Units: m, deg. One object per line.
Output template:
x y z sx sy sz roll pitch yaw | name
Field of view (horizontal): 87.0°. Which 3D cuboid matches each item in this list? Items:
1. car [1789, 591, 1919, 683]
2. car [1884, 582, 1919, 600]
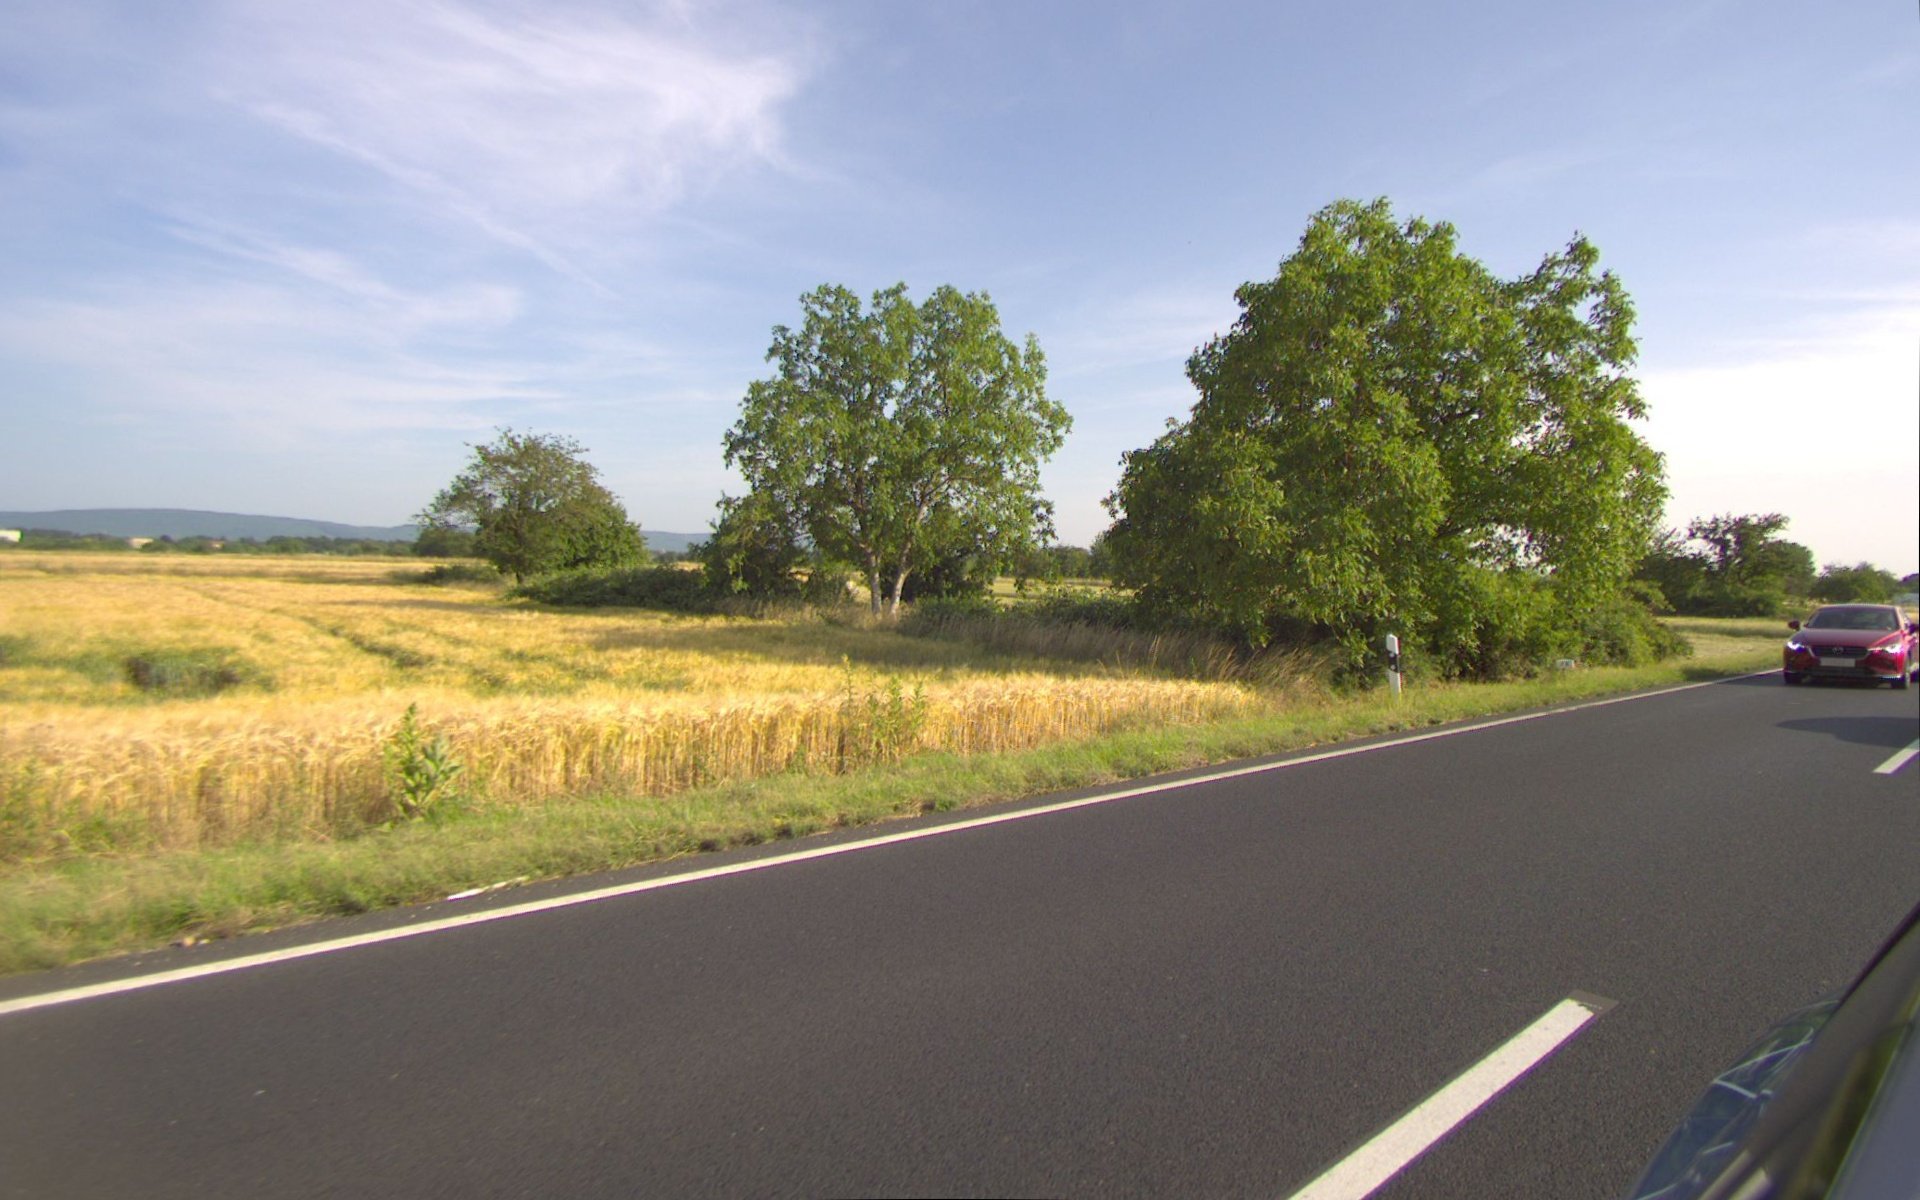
17.482 0.613 19.465 4.423 1.524 1.707 -1 1 -42 | car
150.403 -1.419 159.132 2.049 2.701 7.229 -1 2 -27 | car
